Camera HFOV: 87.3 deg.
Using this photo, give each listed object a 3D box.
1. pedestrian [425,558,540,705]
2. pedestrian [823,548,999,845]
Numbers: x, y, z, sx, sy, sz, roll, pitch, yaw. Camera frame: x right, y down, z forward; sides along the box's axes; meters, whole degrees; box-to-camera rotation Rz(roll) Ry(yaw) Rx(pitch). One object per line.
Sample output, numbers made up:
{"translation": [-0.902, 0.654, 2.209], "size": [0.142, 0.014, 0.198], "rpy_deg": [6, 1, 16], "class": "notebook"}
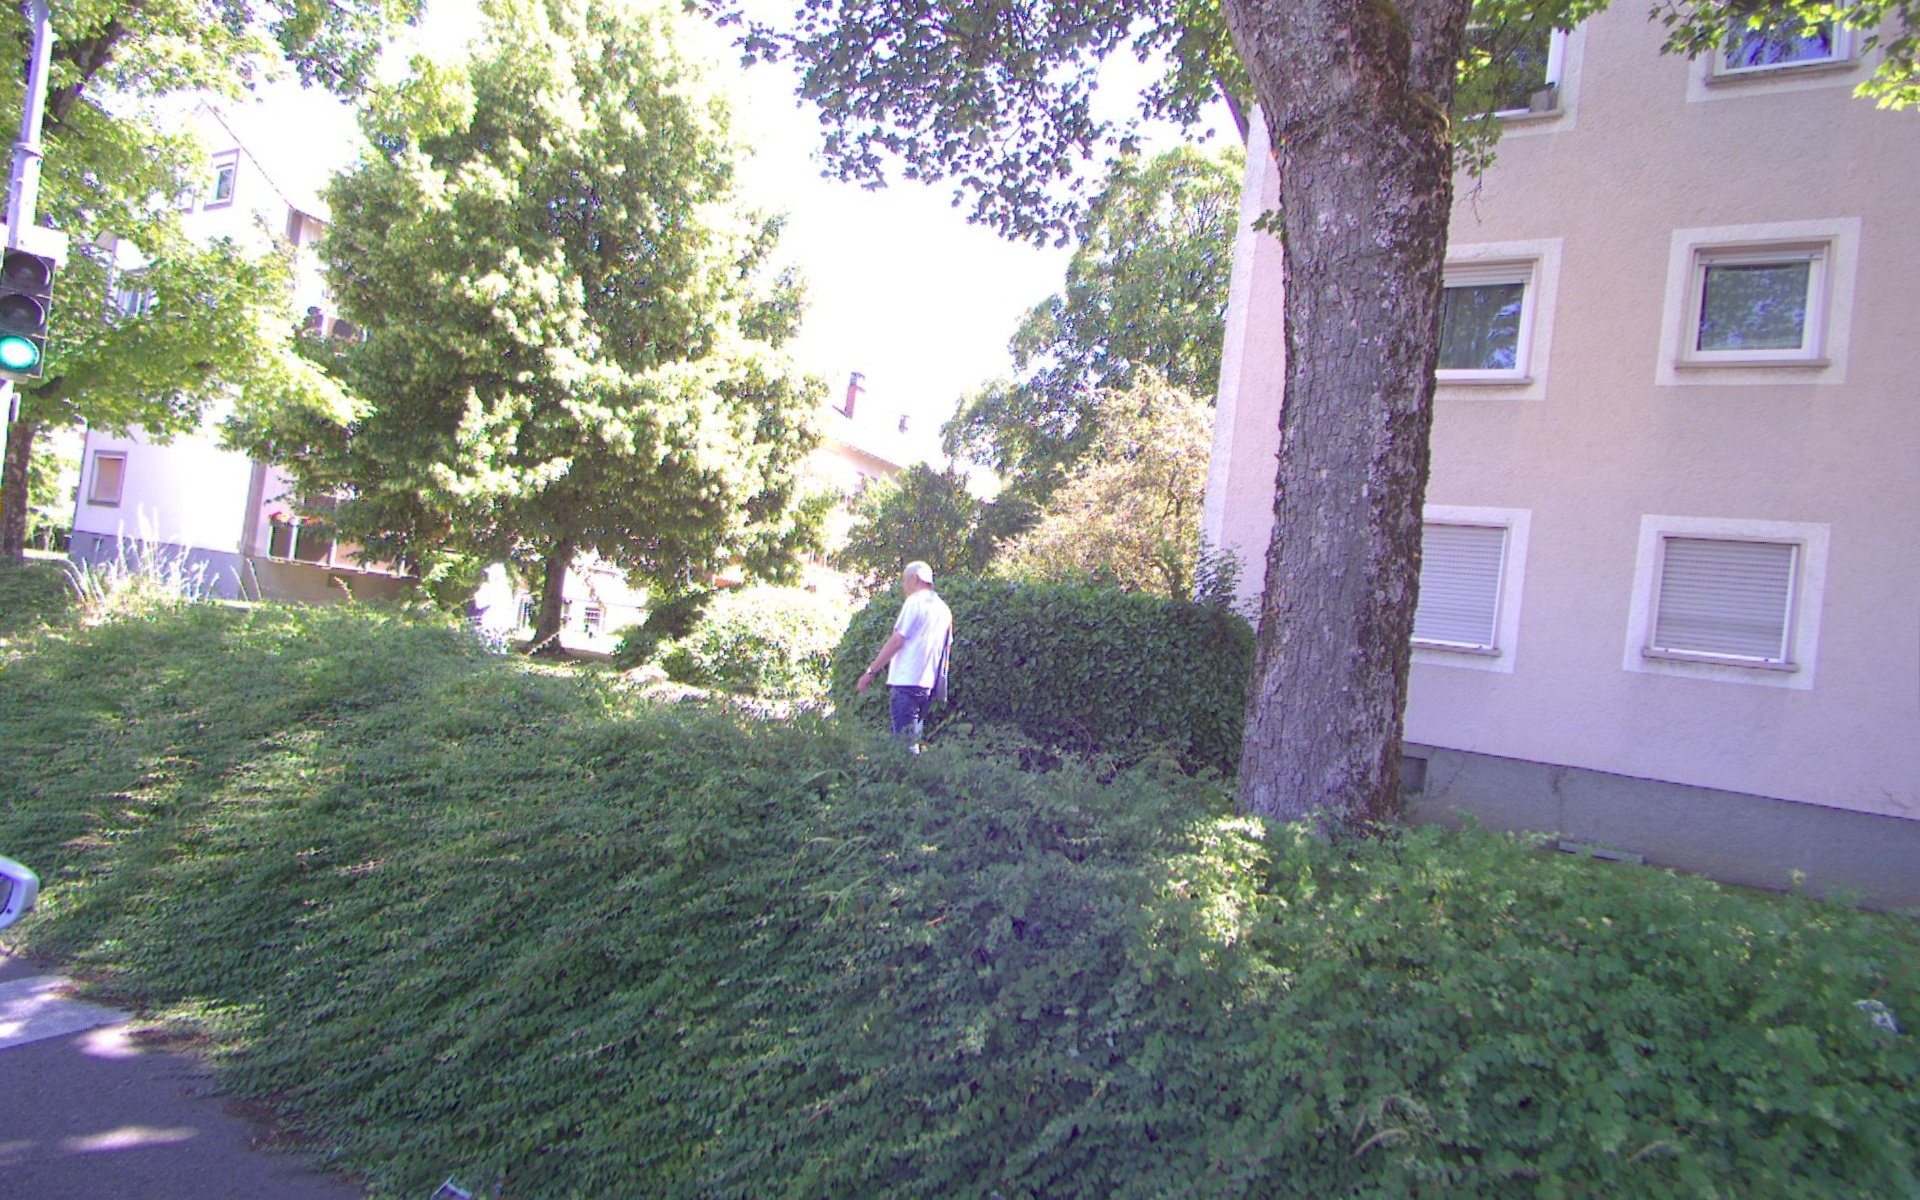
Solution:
{"translation": [-5.768, 0.387, 12.184], "size": [0.836, 1.653, 0.720], "rpy_deg": [7, -1, 23], "class": "pedestrian"}
{"translation": [-0.323, 0.664, 7.132], "size": [0.886, 1.894, 0.675], "rpy_deg": [7, -2, 11], "class": "pedestrian"}
